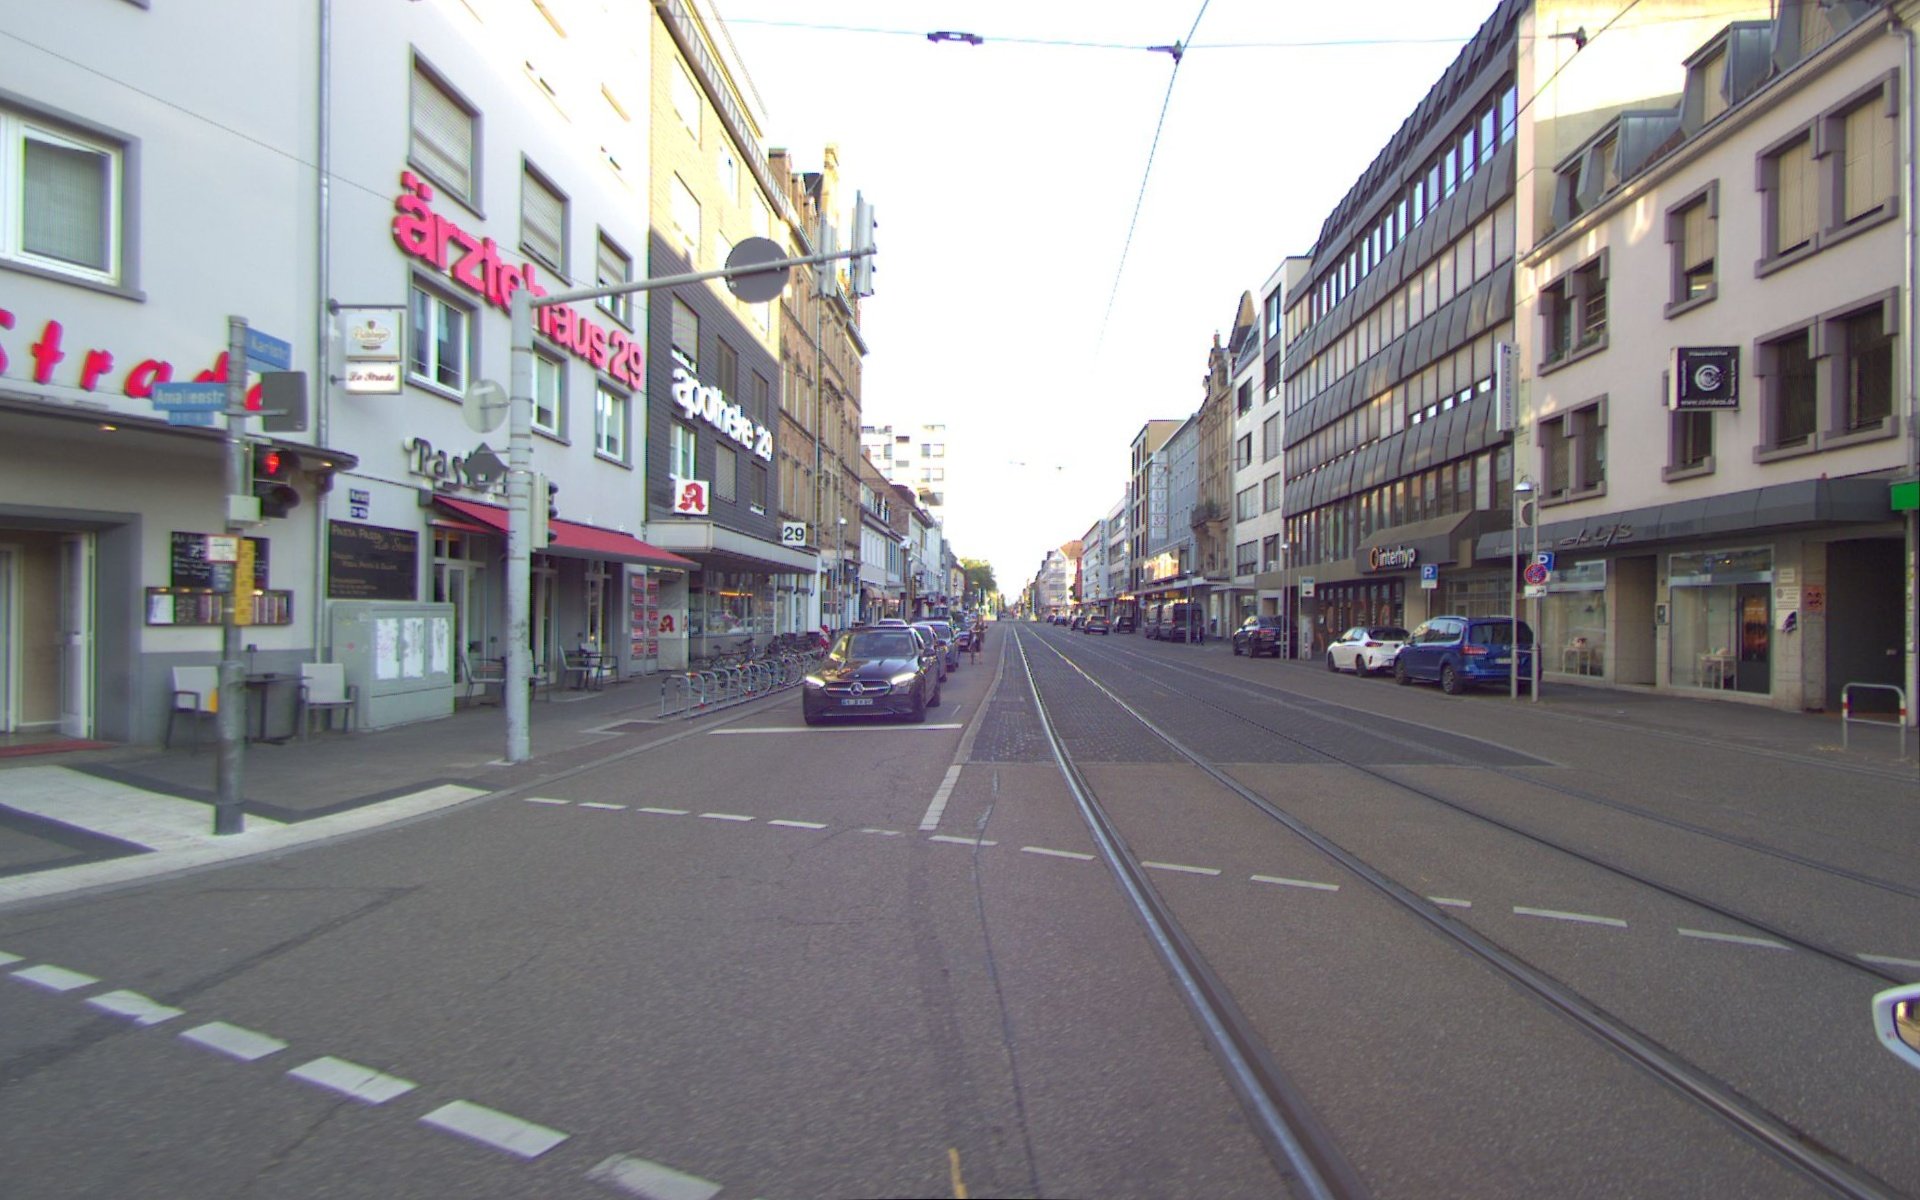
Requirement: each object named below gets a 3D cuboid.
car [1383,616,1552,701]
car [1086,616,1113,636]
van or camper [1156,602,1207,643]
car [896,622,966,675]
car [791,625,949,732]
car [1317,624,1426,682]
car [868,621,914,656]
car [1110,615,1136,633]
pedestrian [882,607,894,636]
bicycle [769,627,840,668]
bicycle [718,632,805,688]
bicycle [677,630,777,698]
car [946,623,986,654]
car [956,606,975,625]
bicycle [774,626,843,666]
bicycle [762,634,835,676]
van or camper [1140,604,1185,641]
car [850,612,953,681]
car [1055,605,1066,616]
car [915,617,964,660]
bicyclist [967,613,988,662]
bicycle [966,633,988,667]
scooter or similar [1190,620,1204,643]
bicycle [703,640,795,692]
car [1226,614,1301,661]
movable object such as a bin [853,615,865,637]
[{"bbox_3d":[11.888,1.300,23.923,1.882,1.740,4.565,-2,-1,3],"label":"car"},{"bbox_3d":[11.736,2.164,84.879,1.911,1.565,4.546,1,0,3],"label":"car"},{"bbox_3d":[14.270,1.429,65.124,2.152,2.458,6.134,-2,-1,2],"label":"van or camper"},{"bbox_3d":[-0.805,1.420,30.345,1.729,1.405,4.062,-2,-1,3],"label":"car"},{"bbox_3d":[-1.298,1.166,16.436,1.882,1.405,4.565,-2,-1,3],"label":"car"},{"bbox_3d":[12.113,1.522,29.826,1.736,1.505,3.873,-2,-1,2],"label":"car"},{"bbox_3d":[-3.157,1.762,46.869,1.730,1.408,4.274,3,-1,1],"label":"car"},{"bbox_3d":[15.279,2.263,94.114,1.911,1.565,4.546,-2,-1,3],"label":"car"},{"bbox_3d":[-4.625,1.389,64.342,0.637,1.796,0.855,2,0,3],"label":"pedestrian"},{"bbox_3d":[-4.266,1.293,27.665,1.825,0.996,0.462,3,0,3],"label":"bicycle"},{"bbox_3d":[-4.609,1.387,23.373,1.825,1.149,0.607,3,0,3],"label":"bicycle"},{"bbox_3d":[-4.741,1.295,20.503,1.825,1.243,0.607,3,0,3],"label":"bicycle"},{"bbox_3d":[0.311,1.716,45.345,1.639,1.244,4.275,-2,-1,2],"label":"car"},{"bbox_3d":[0.673,1.751,115.000,1.885,1.961,4.843,3,0,3],"label":"car"},{"bbox_3d":[-4.245,1.289,28.181,1.825,0.996,0.462,3,0,3],"label":"bicycle"},{"bbox_3d":[-4.314,1.463,26.910,1.825,0.996,0.493,3,0,3],"label":"bicycle"},{"bbox_3d":[14.339,1.581,71.418,2.152,2.458,5.519,-2,-1,1],"label":"van or camper"},{"bbox_3d":[-1.273,1.026,23.787,1.882,1.405,4.565,-2,-1,3],"label":"car"},{"bbox_3d":[19.239,2.011,192.354,1.911,2.174,4.546,-1,-1,3],"label":"car"},{"bbox_3d":[-0.767,1.470,39.180,1.639,1.525,3.681,-2,-1,2],"label":"car"},{"bbox_3d":[0.590,1.236,33.488,0.681,1.586,0.799,1,0,1],"label":"bicyclist"},{"bbox_3d":[0.582,1.648,33.532,0.681,1.048,2.082,1,-1,1],"label":"bicycle"},{"bbox_3d":[13.514,1.786,57.199,0.349,1.240,1.112,-2,-1,35],"label":"scooter or similar"},{"bbox_3d":[-4.599,1.428,21.949,1.825,0.996,0.607,3,0,3],"label":"bicycle"},{"bbox_3d":[12.588,1.514,41.970,1.951,1.757,4.672,-2,-1,3],"label":"car"},{"bbox_3d":[-5.534,1.419,55.097,0.580,1.146,0.729,0,0,3],"label":"movable object such as a bin"}]
